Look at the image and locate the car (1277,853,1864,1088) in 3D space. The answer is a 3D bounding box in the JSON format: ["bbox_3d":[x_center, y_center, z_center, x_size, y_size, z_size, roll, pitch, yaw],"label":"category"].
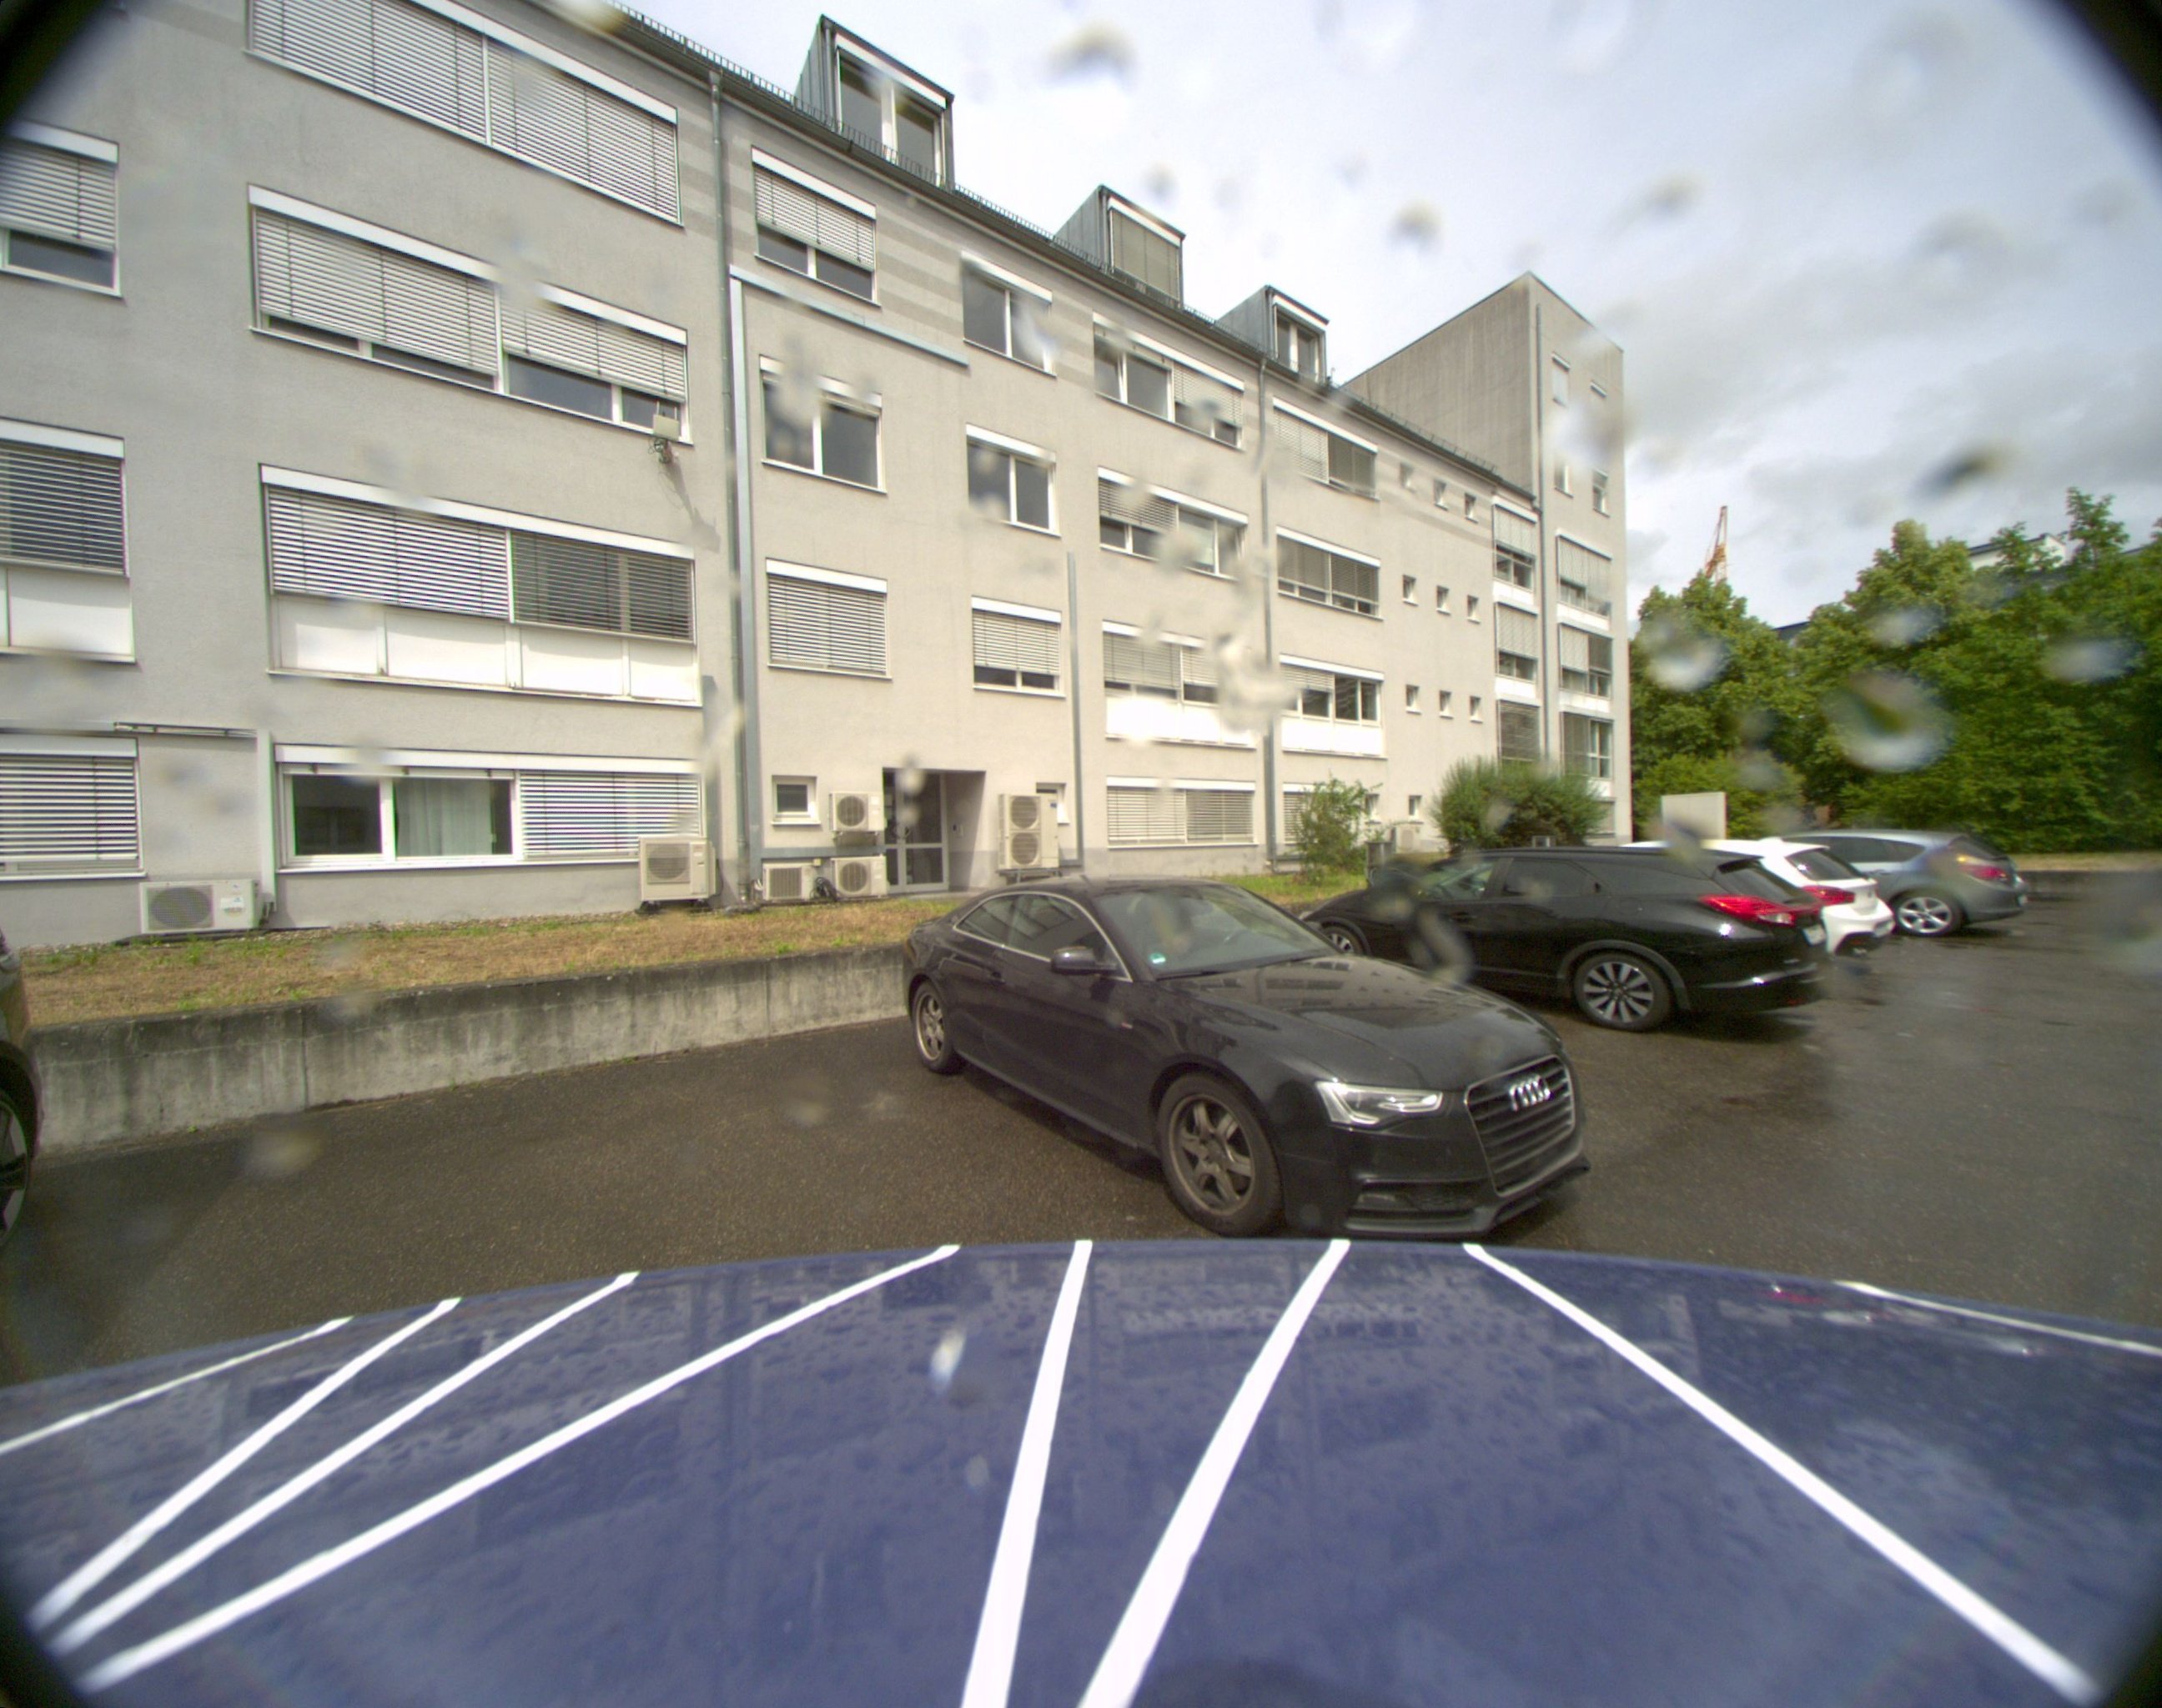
[{"bbox_3d":[4.155,0.754,7.190,1.766,1.434,4.304,-3,2,-35],"label":"car"}]

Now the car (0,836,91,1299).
[{"bbox_3d":[-4.207,0.900,1.124,1.974,1.854,4.735,-3,2,-36],"label":"car"}]

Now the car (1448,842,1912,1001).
[{"bbox_3d":[6.927,0.606,9.273,1.699,1.434,4.114,-3,2,-34],"label":"car"}]

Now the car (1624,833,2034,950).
[{"bbox_3d":[11.324,0.444,11.849,1.766,1.434,4.304,-3,2,-35],"label":"car"}]

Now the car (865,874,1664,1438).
[{"bbox_3d":[0.375,0.908,4.462,1.766,1.344,4.517,-3,2,-34],"label":"car"}]
